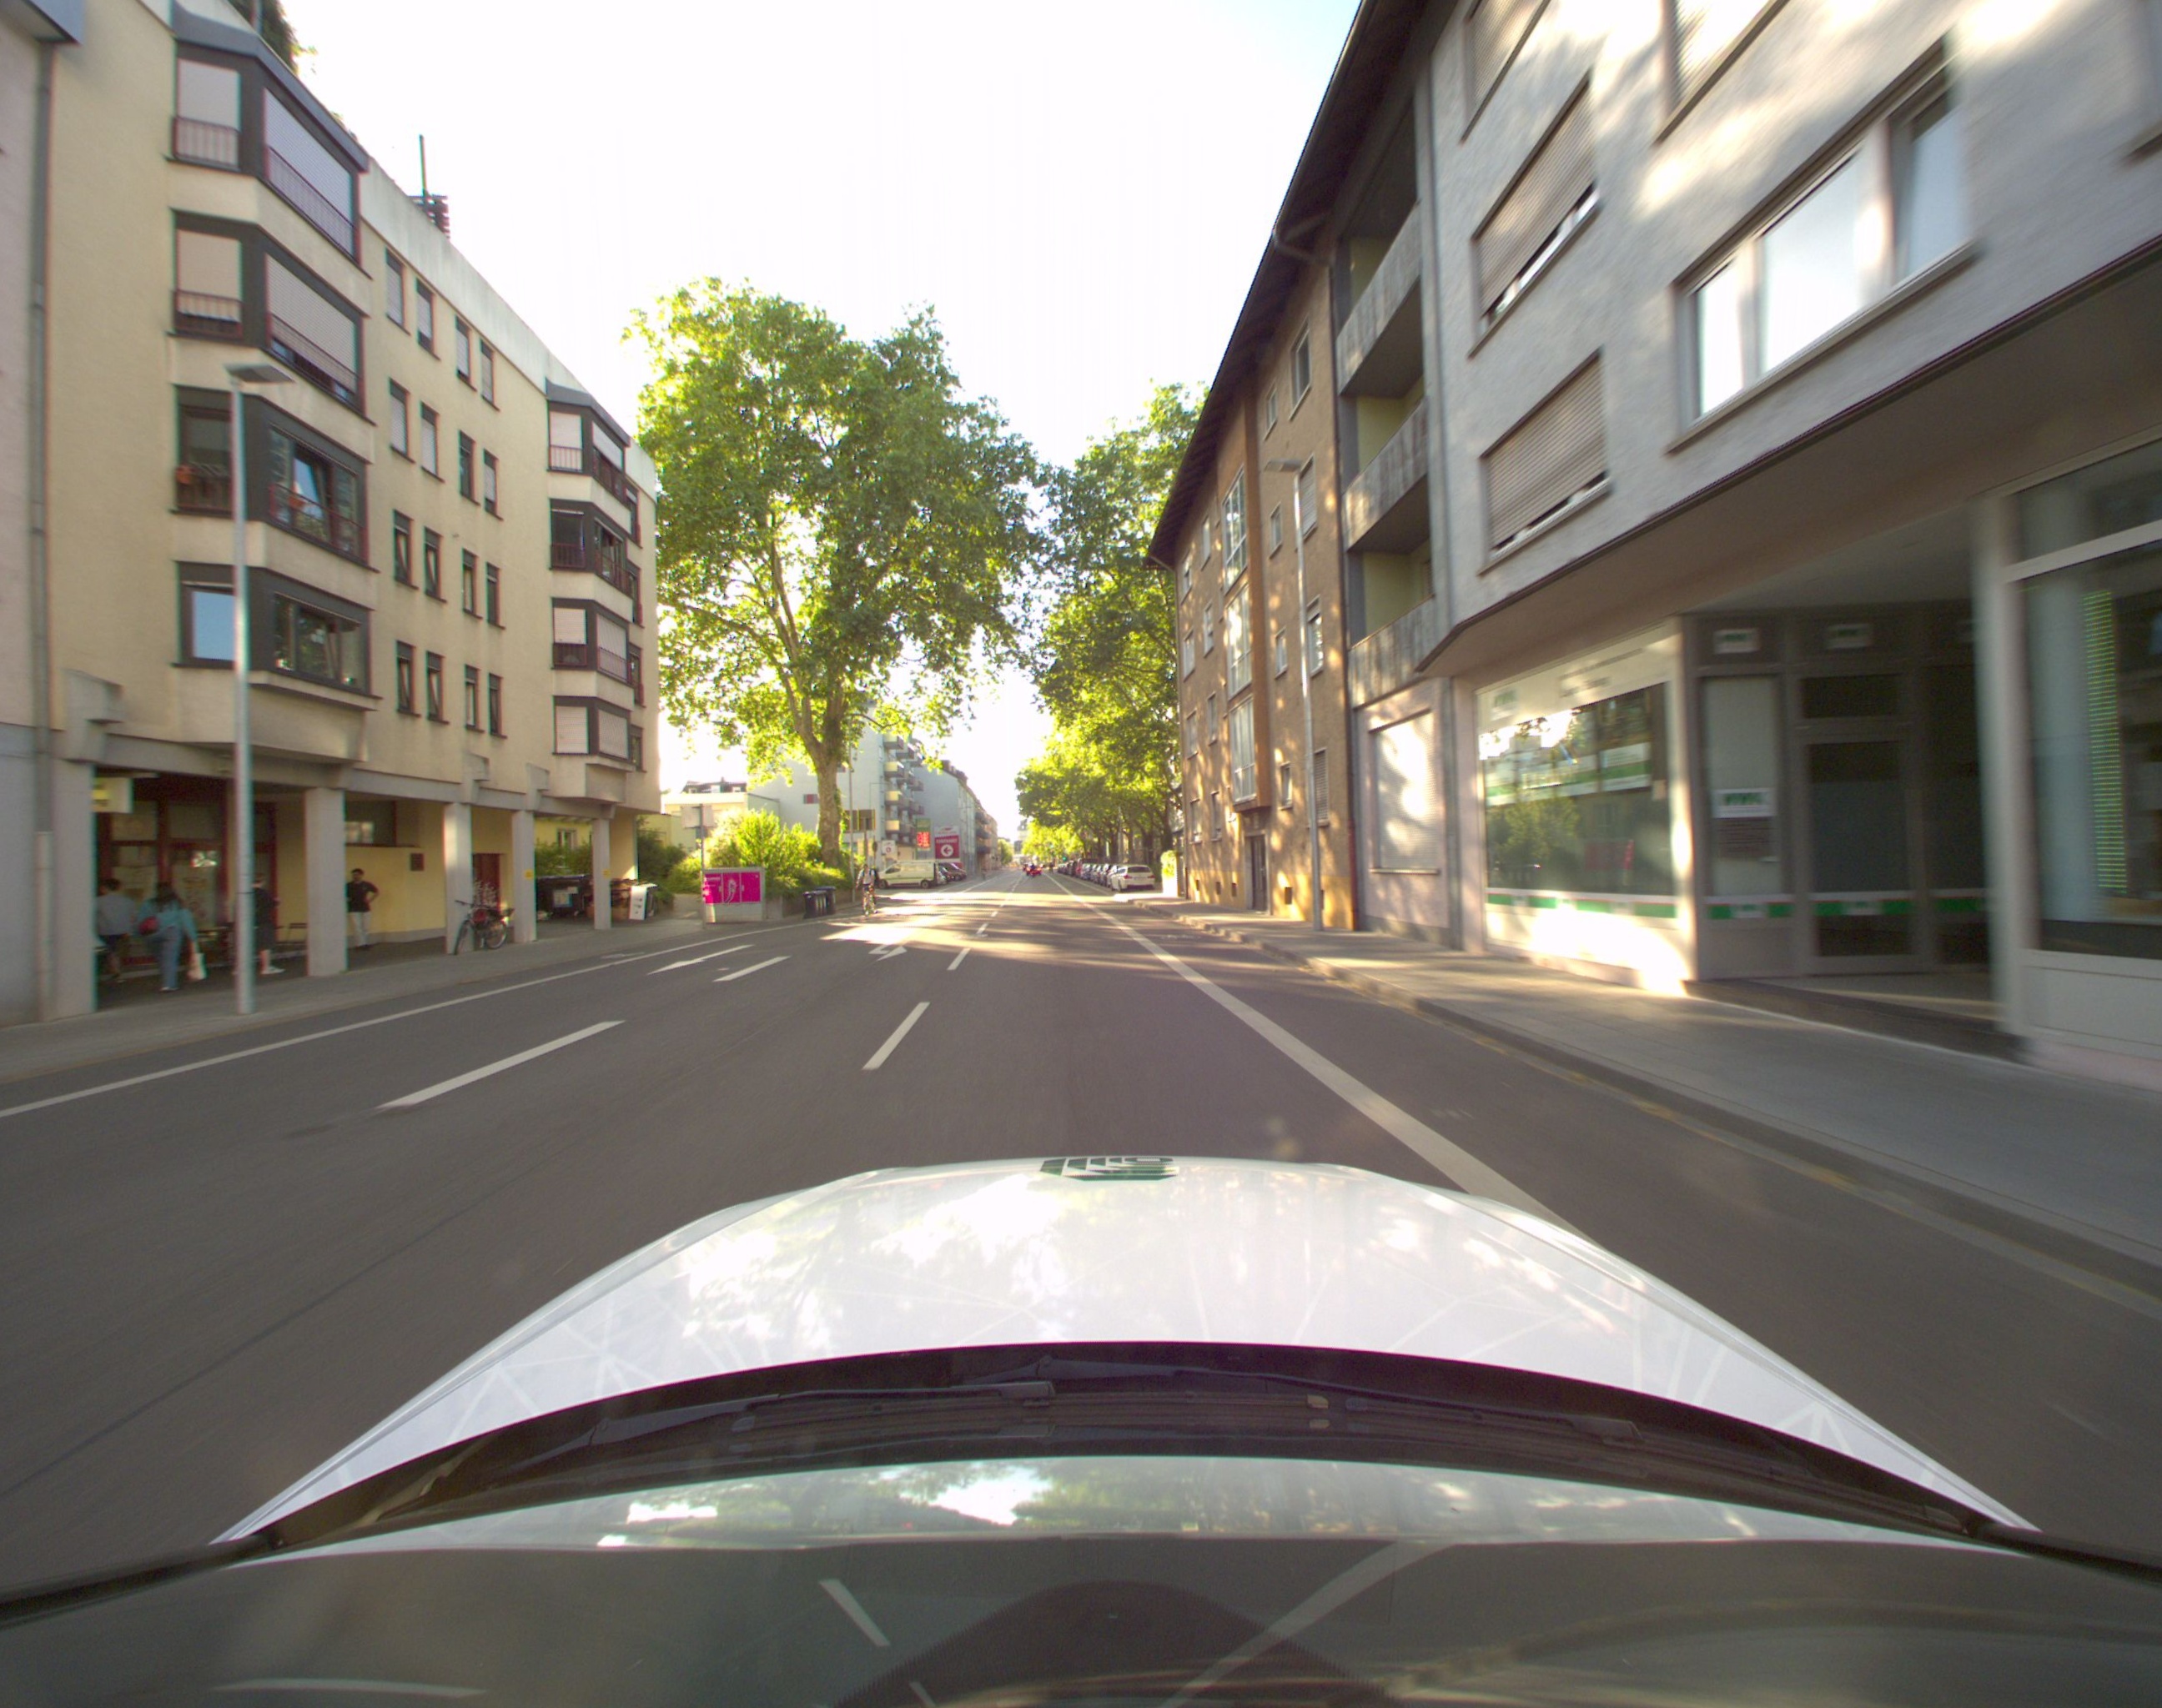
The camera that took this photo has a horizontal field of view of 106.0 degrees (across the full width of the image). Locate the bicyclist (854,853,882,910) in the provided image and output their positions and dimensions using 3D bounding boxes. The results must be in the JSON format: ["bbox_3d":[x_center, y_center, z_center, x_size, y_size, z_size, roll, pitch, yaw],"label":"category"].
[{"bbox_3d":[-7.491,0.945,28.685,0.815,1.948,0.855,-2,-1,-8],"label":"bicyclist"}]

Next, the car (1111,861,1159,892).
[{"bbox_3d":[2.843,1.175,43.719,2.029,1.504,4.087,-2,-1,-4],"label":"car"}]

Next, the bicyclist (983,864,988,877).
[{"bbox_3d":[-10.008,1.745,85.389,0.541,1.394,0.507,-2,-1,-10],"label":"bicyclist"}]

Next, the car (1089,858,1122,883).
[{"bbox_3d":[1.816,1.214,61.005,2.029,1.759,4.087,-2,-1,-4],"label":"car"}]

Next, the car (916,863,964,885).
[{"bbox_3d":[-12.351,1.719,71.614,3.982,1.743,1.996,-2,-1,-7],"label":"car"}]

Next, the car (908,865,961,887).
[{"bbox_3d":[-11.814,1.780,65.829,3.982,1.596,1.996,-2,-1,-7],"label":"car"}]

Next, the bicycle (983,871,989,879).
[{"bbox_3d":[-9.984,2.194,85.304,0.541,0.843,1.600,-2,-1,-9],"label":"bicycle"}]

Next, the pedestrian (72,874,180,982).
[{"bbox_3d":[-15.948,1.217,13.615,0.827,1.724,0.857,-1,-1,9],"label":"pedestrian"}]

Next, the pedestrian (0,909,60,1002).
[{"bbox_3d":[-15.555,1.449,11.635,0.830,1.265,0.853,-1,-1,-3],"label":"pedestrian"}]

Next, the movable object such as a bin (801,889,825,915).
[{"bbox_3d":[-9.770,1.733,29.716,0.684,0.907,0.578,0,0,-4],"label":"movable object such as a bin"}]

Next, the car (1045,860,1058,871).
[{"bbox_3d":[-4.925,1.877,134.723,2.029,1.742,4.087,-2,-1,-4],"label":"car"}]

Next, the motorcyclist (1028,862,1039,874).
[{"bbox_3d":[-5.142,1.513,88.030,0.970,1.347,1.134,0,0,-10],"label":"motorcyclist"}]

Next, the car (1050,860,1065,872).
[{"bbox_3d":[-3.699,1.842,126.661,2.029,1.742,4.087,-2,-1,-4],"label":"car"}]

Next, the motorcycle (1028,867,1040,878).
[{"bbox_3d":[-5.086,1.987,88.013,0.972,1.131,2.797,0,0,-8],"label":"motorcycle"}]

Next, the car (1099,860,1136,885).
[{"bbox_3d":[2.405,1.230,55.139,2.029,1.617,4.087,-2,-1,-4],"label":"car"}]

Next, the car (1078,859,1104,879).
[{"bbox_3d":[0.908,1.363,76.043,2.029,1.719,4.087,-2,-1,-4],"label":"car"}]

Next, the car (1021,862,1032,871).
[{"bbox_3d":[-11.078,2.502,165.313,2.029,1.742,4.087,-2,-1,-4],"label":"car"}]

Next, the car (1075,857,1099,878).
[{"bbox_3d":[0.596,1.301,80.273,2.029,1.934,4.087,-2,-1,-4],"label":"car"}]

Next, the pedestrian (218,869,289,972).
[{"bbox_3d":[-14.951,1.183,14.726,0.613,1.795,0.654,-1,-1,-7],"label":"pedestrian"}]

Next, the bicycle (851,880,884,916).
[{"bbox_3d":[-7.465,1.516,28.621,0.815,1.139,2.332,-2,-1,-8],"label":"bicycle"}]

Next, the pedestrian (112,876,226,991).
[{"bbox_3d":[-14.413,1.225,12.894,0.851,1.724,0.832,-1,-1,-7],"label":"pedestrian"}]

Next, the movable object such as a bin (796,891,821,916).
[{"bbox_3d":[-9.729,1.761,29.092,0.684,0.852,0.578,0,0,-4],"label":"movable object such as a bin"}]

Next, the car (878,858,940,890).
[{"bbox_3d":[-12.770,1.495,60.756,4.298,2.226,1.995,-2,-1,-7],"label":"car"}]

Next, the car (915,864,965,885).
[{"bbox_3d":[-11.949,1.753,69.041,3.982,1.596,1.996,-2,-1,-7],"label":"car"}]

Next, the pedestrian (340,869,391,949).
[{"bbox_3d":[-15.999,1.214,18.213,0.580,1.724,0.623,-1,-1,-4],"label":"pedestrian"}]

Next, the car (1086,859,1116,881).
[{"bbox_3d":[1.609,1.301,67.136,2.029,1.719,4.087,-2,-1,-4],"label":"car"}]

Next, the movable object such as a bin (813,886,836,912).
[{"bbox_3d":[-9.701,1.704,30.770,0.701,0.965,0.595,0,0,-4],"label":"movable object such as a bin"}]

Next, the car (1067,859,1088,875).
[{"bbox_3d":[-0.398,1.443,91.936,2.029,1.742,4.087,-2,-1,-4],"label":"car"}]

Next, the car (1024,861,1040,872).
[{"bbox_3d":[-6.105,1.559,102.199,1.920,1.388,3.994,-1,0,-4],"label":"car"}]

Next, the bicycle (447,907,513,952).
[{"bbox_3d":[-13.450,1.676,18.268,0.388,0.878,1.609,1,-1,-5],"label":"bicycle"}]
